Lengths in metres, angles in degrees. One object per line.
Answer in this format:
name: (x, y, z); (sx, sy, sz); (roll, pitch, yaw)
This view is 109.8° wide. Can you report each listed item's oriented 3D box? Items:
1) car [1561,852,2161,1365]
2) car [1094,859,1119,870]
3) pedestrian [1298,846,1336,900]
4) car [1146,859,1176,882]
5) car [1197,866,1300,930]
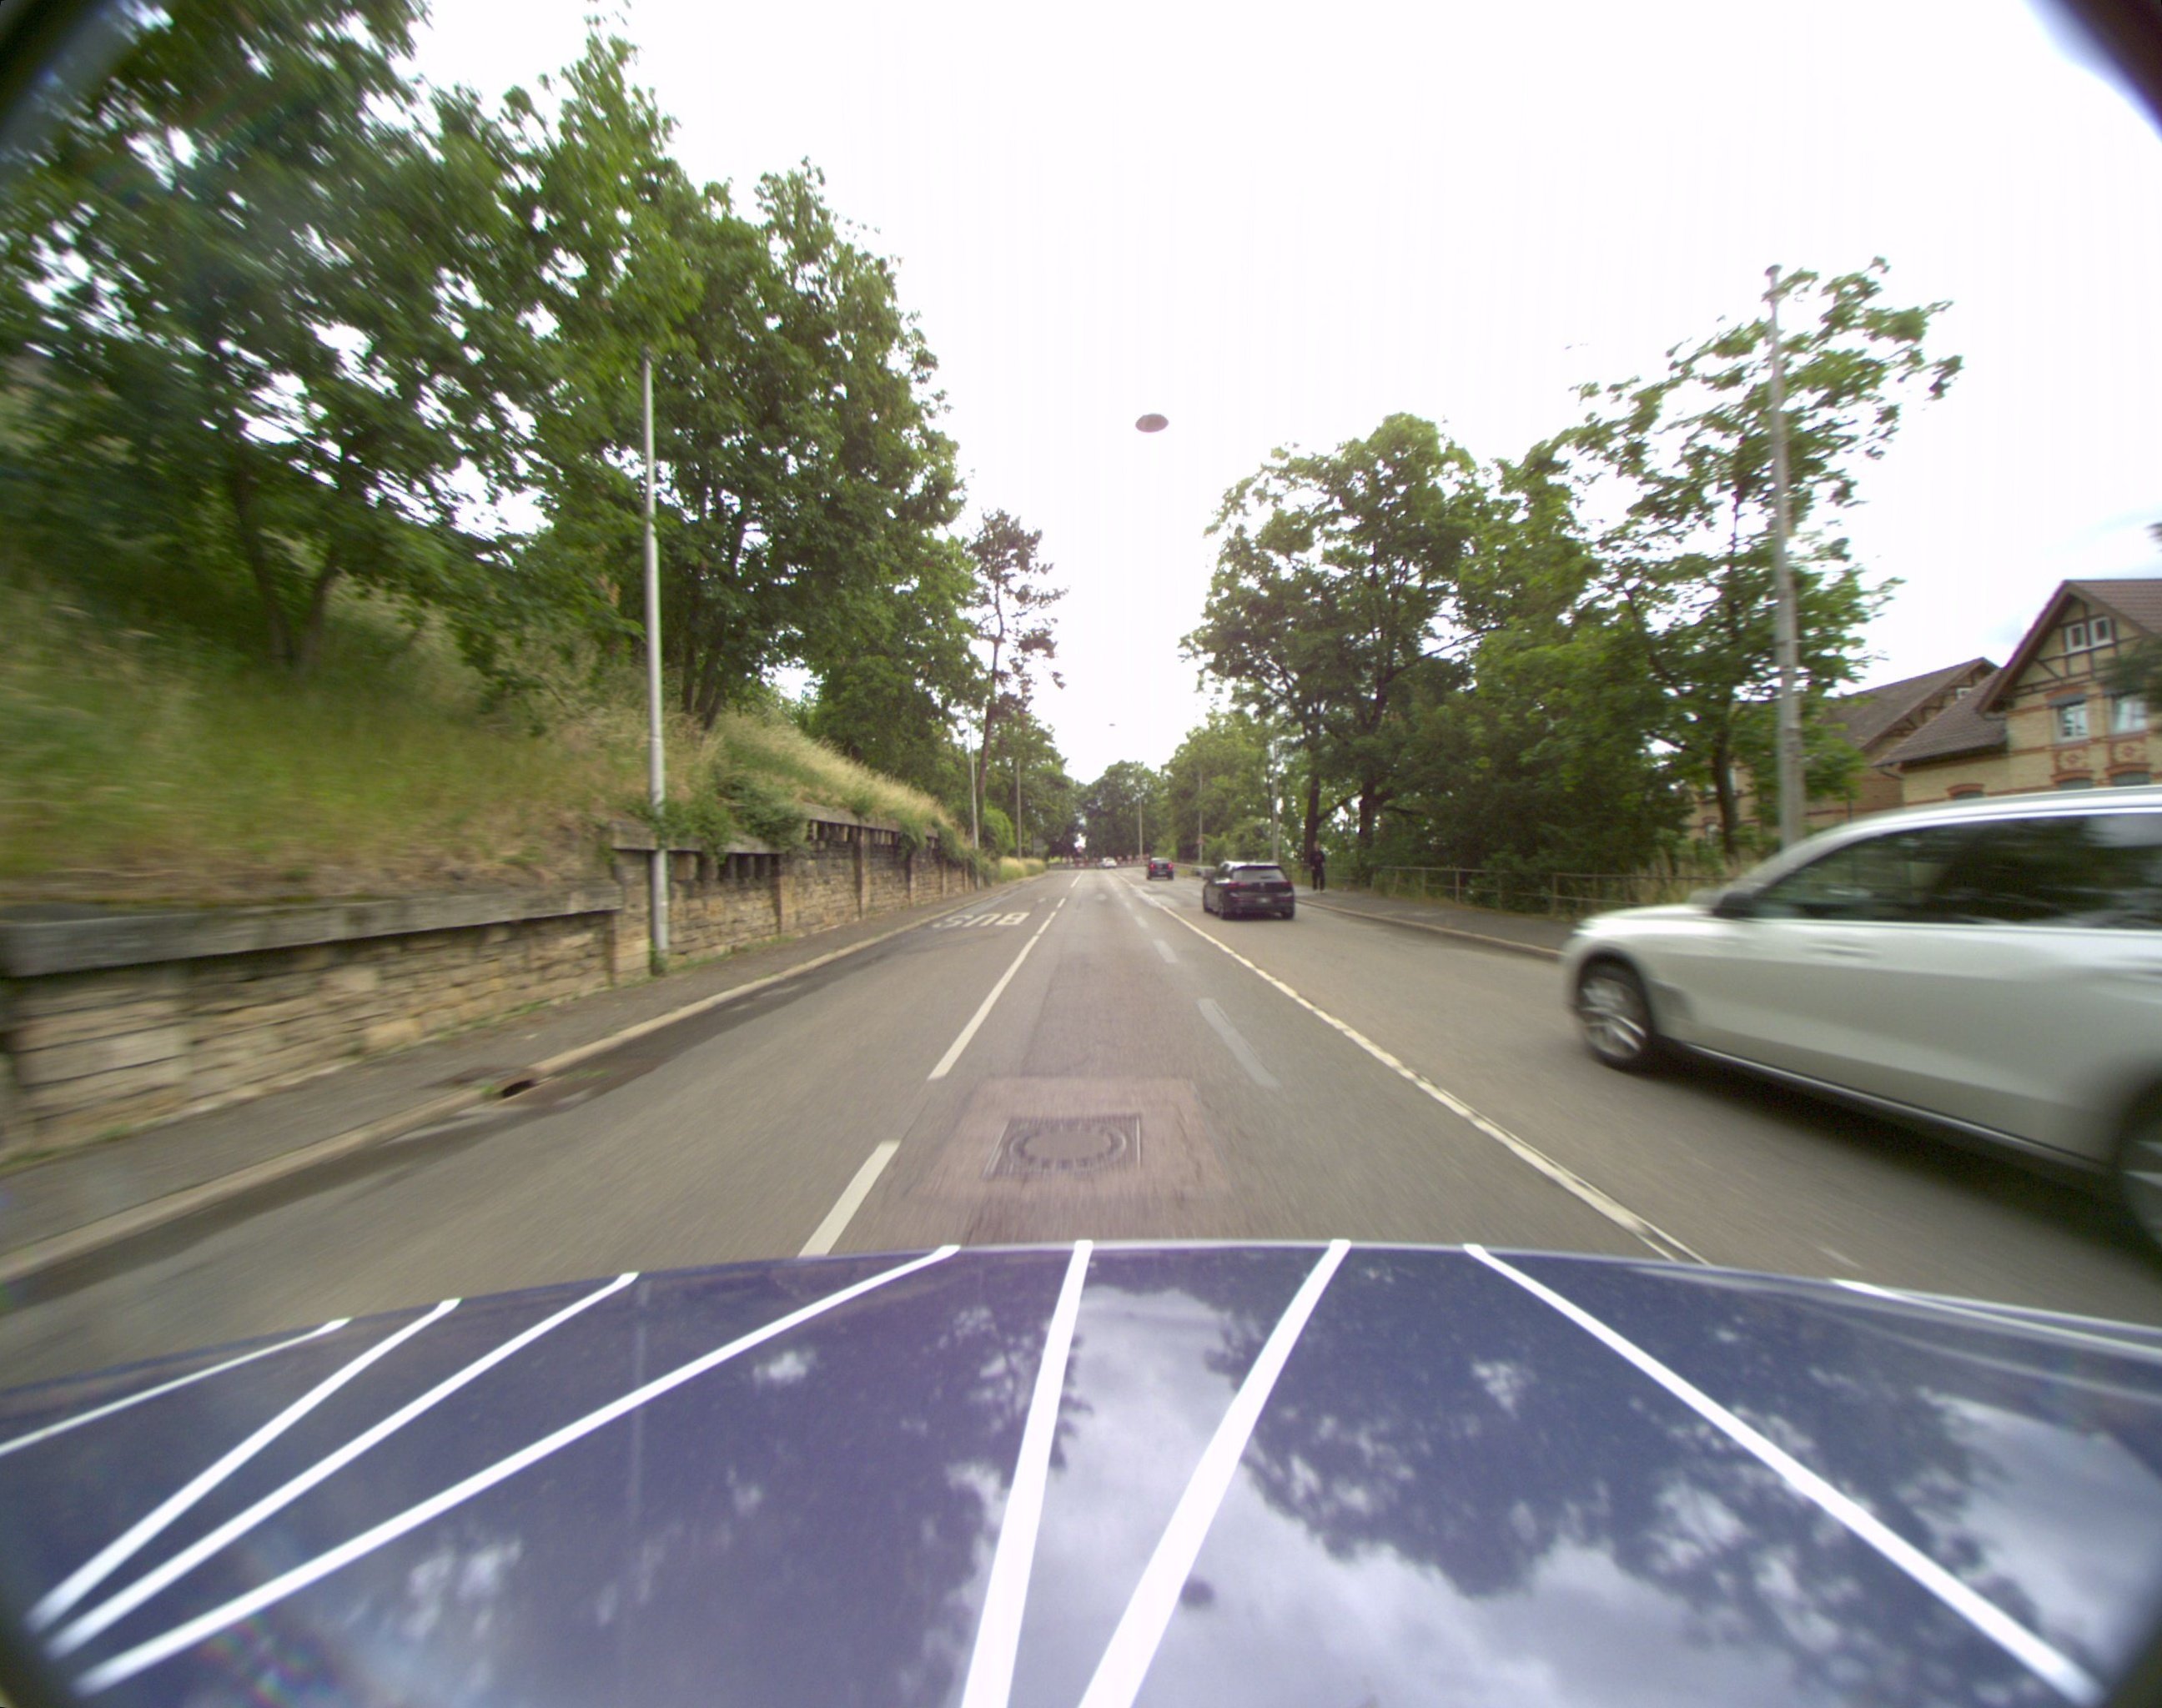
car: (4.550, 0.833, 3.321); (2.000, 1.673, 4.663); (-1, 0, 1)
car: (3.427, 1.406, 103.877); (1.802, 1.419, 4.136); (-2, 0, -23)
pedestrian: (8.202, 0.660, 26.473); (0.790, 1.764, 1.209); (-4, 0, -2)
car: (5.300, 1.057, 50.599); (1.673, 1.439, 3.688); (-1, 0, 1)
car: (4.188, 1.049, 19.653); (1.717, 1.419, 4.139); (-1, 0, 0)
